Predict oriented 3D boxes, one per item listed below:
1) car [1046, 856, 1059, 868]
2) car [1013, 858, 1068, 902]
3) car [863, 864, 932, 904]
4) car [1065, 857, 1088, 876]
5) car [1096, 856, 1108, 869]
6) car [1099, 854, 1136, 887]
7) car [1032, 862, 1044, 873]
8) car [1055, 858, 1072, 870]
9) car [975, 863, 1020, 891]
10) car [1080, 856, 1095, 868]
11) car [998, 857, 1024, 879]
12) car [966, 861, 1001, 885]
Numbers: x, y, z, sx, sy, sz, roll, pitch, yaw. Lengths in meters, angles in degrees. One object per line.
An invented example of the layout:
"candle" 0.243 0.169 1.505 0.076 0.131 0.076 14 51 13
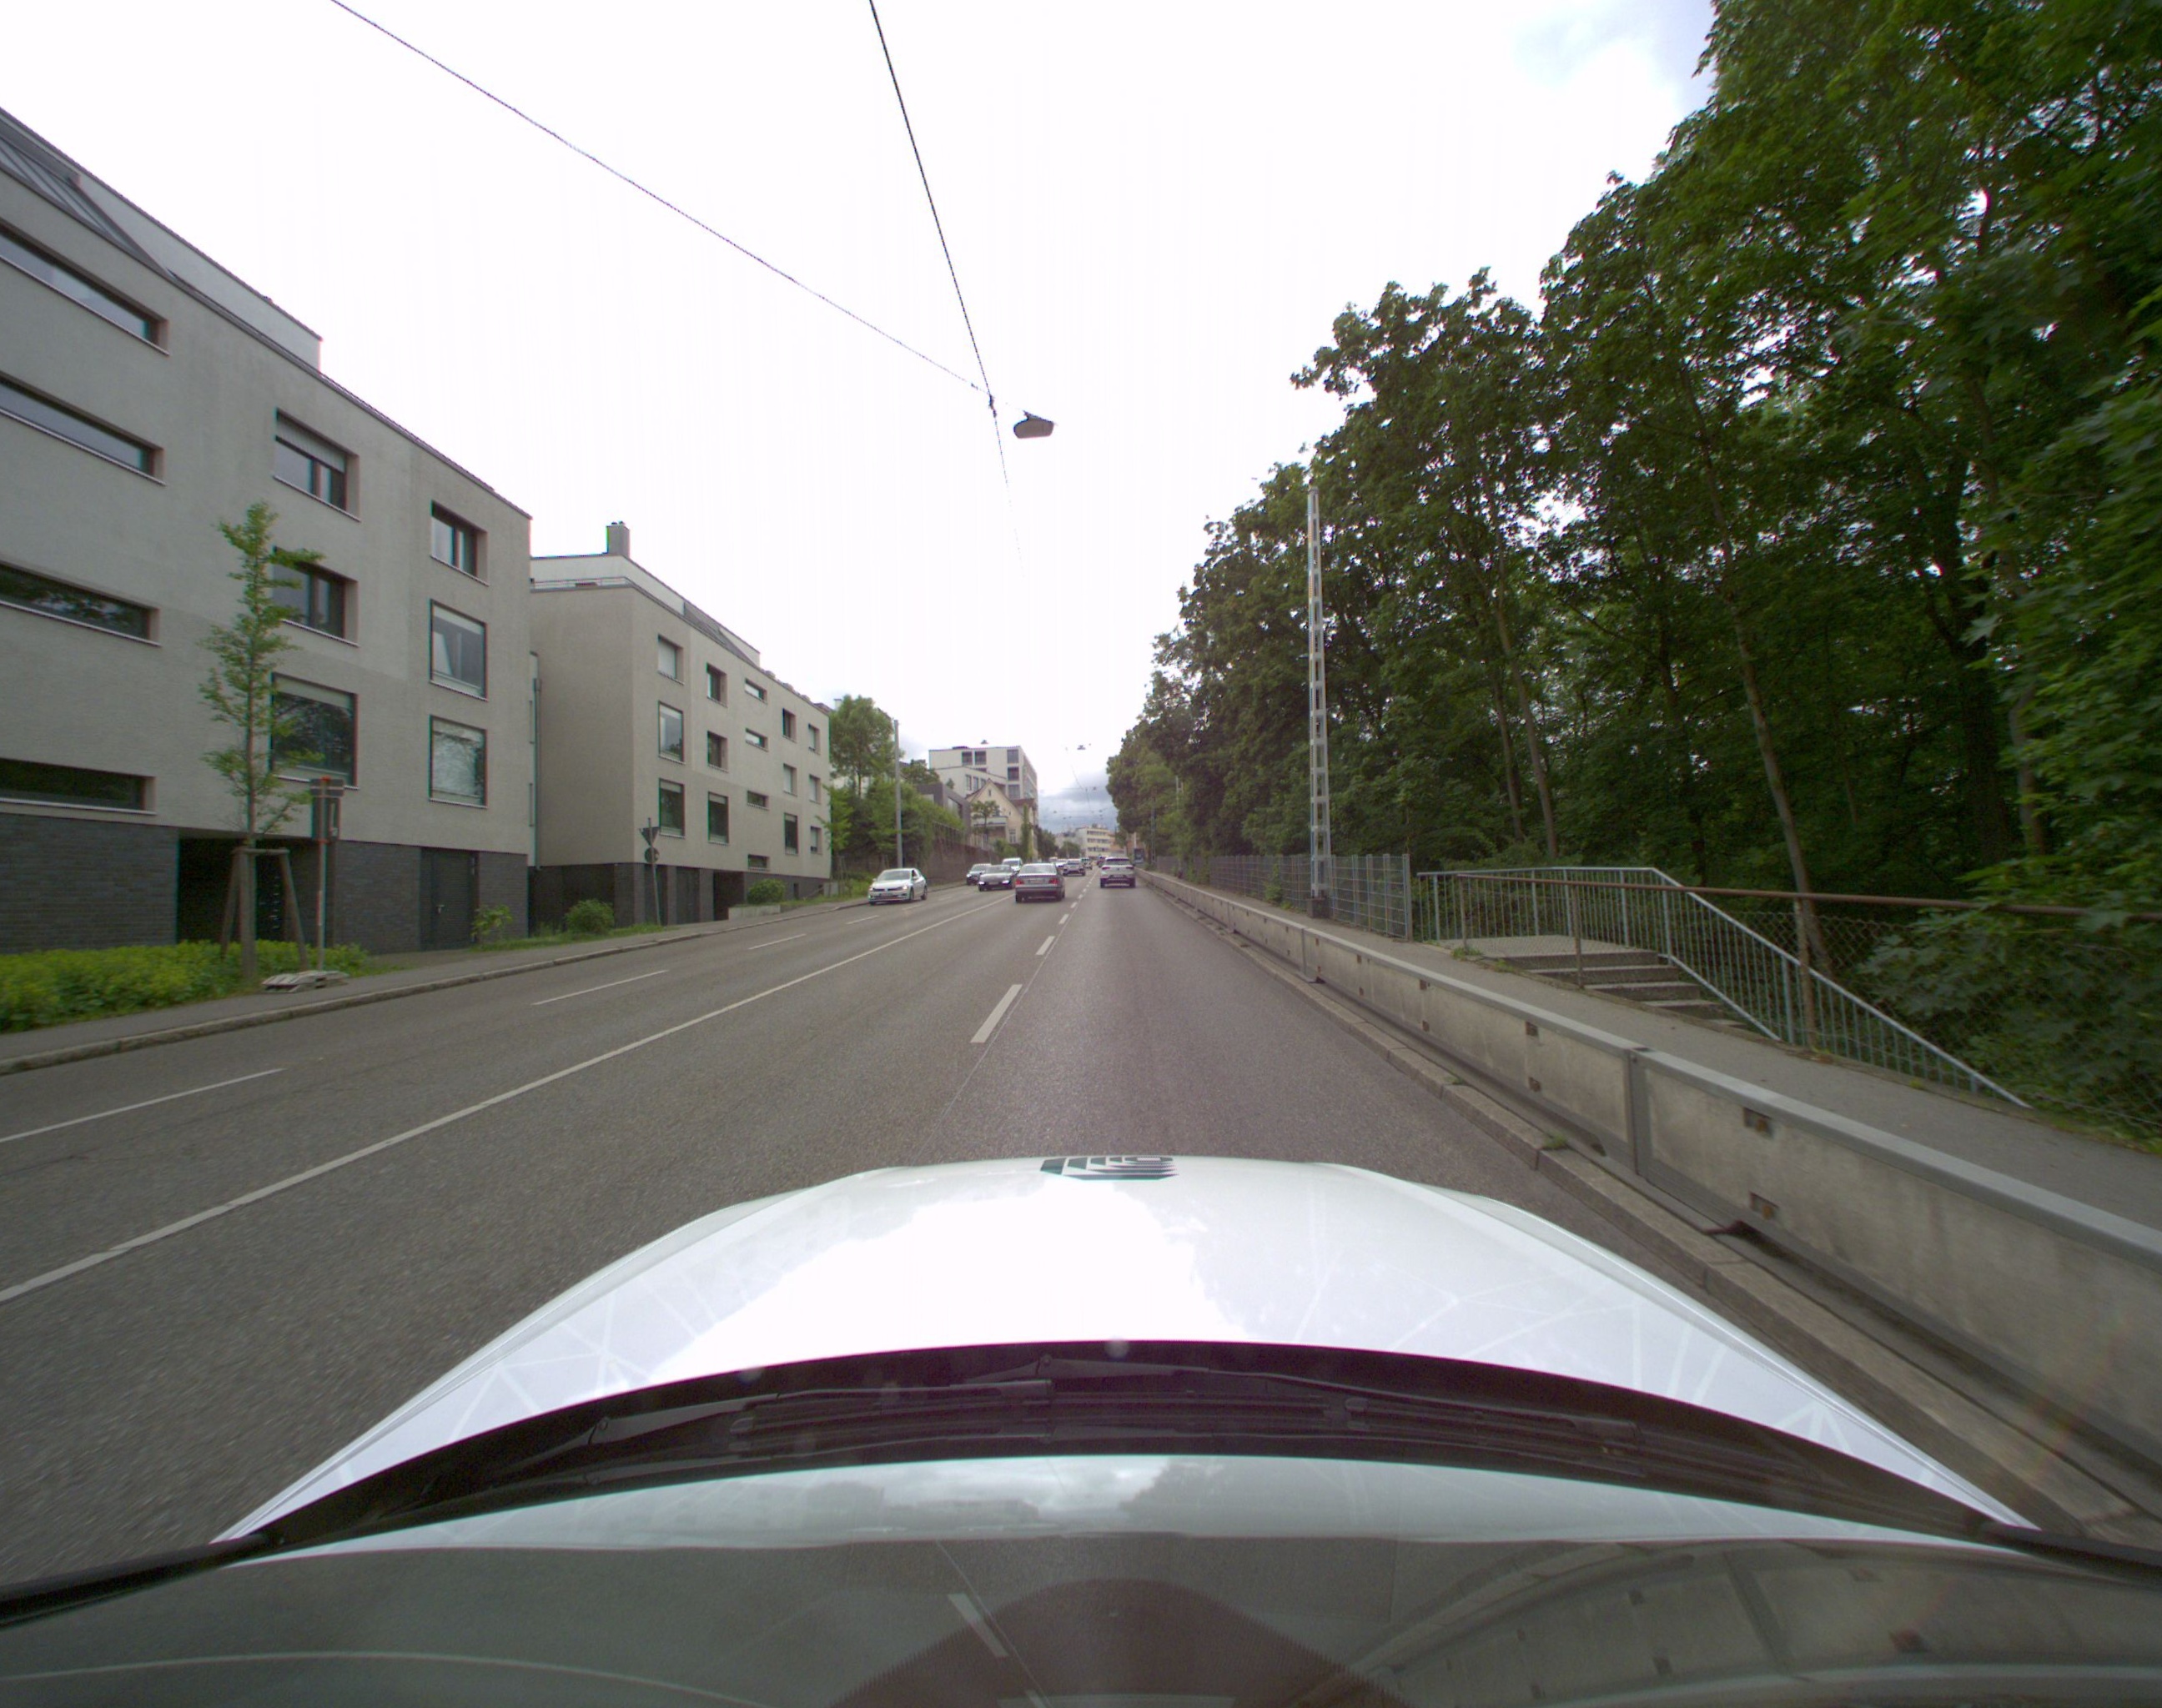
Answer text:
"car" -4.525 1.253 130.097 1.809 1.784 4.497 -2 0 2
"car" -1.422 0.904 29.902 1.700 1.464 4.001 -1 0 2
"car" -7.647 1.228 34.367 1.766 1.464 4.193 -3 0 2
"car" -0.361 1.009 68.822 1.700 1.464 4.002 -2 0 2
"car" 2.978 1.217 114.549 1.650 1.765 3.288 -1 0 2
"car" 1.836 0.834 42.192 1.774 1.579 4.000 -1 0 1
"car" -7.367 2.340 140.668 1.988 1.701 3.997 -2 0 -2
"car" -2.183 1.319 104.502 1.809 1.386 4.464 -4 0 2
"car" -4.370 1.201 43.162 1.747 1.269 4.193 -3 0 2
"car" 0.819 0.950 98.780 1.700 1.464 4.002 -2 0 2
"car" -6.309 1.219 73.893 1.726 1.788 4.869 -3 0 2
"car" -6.842 1.322 57.456 1.726 1.464 4.425 -3 0 2
